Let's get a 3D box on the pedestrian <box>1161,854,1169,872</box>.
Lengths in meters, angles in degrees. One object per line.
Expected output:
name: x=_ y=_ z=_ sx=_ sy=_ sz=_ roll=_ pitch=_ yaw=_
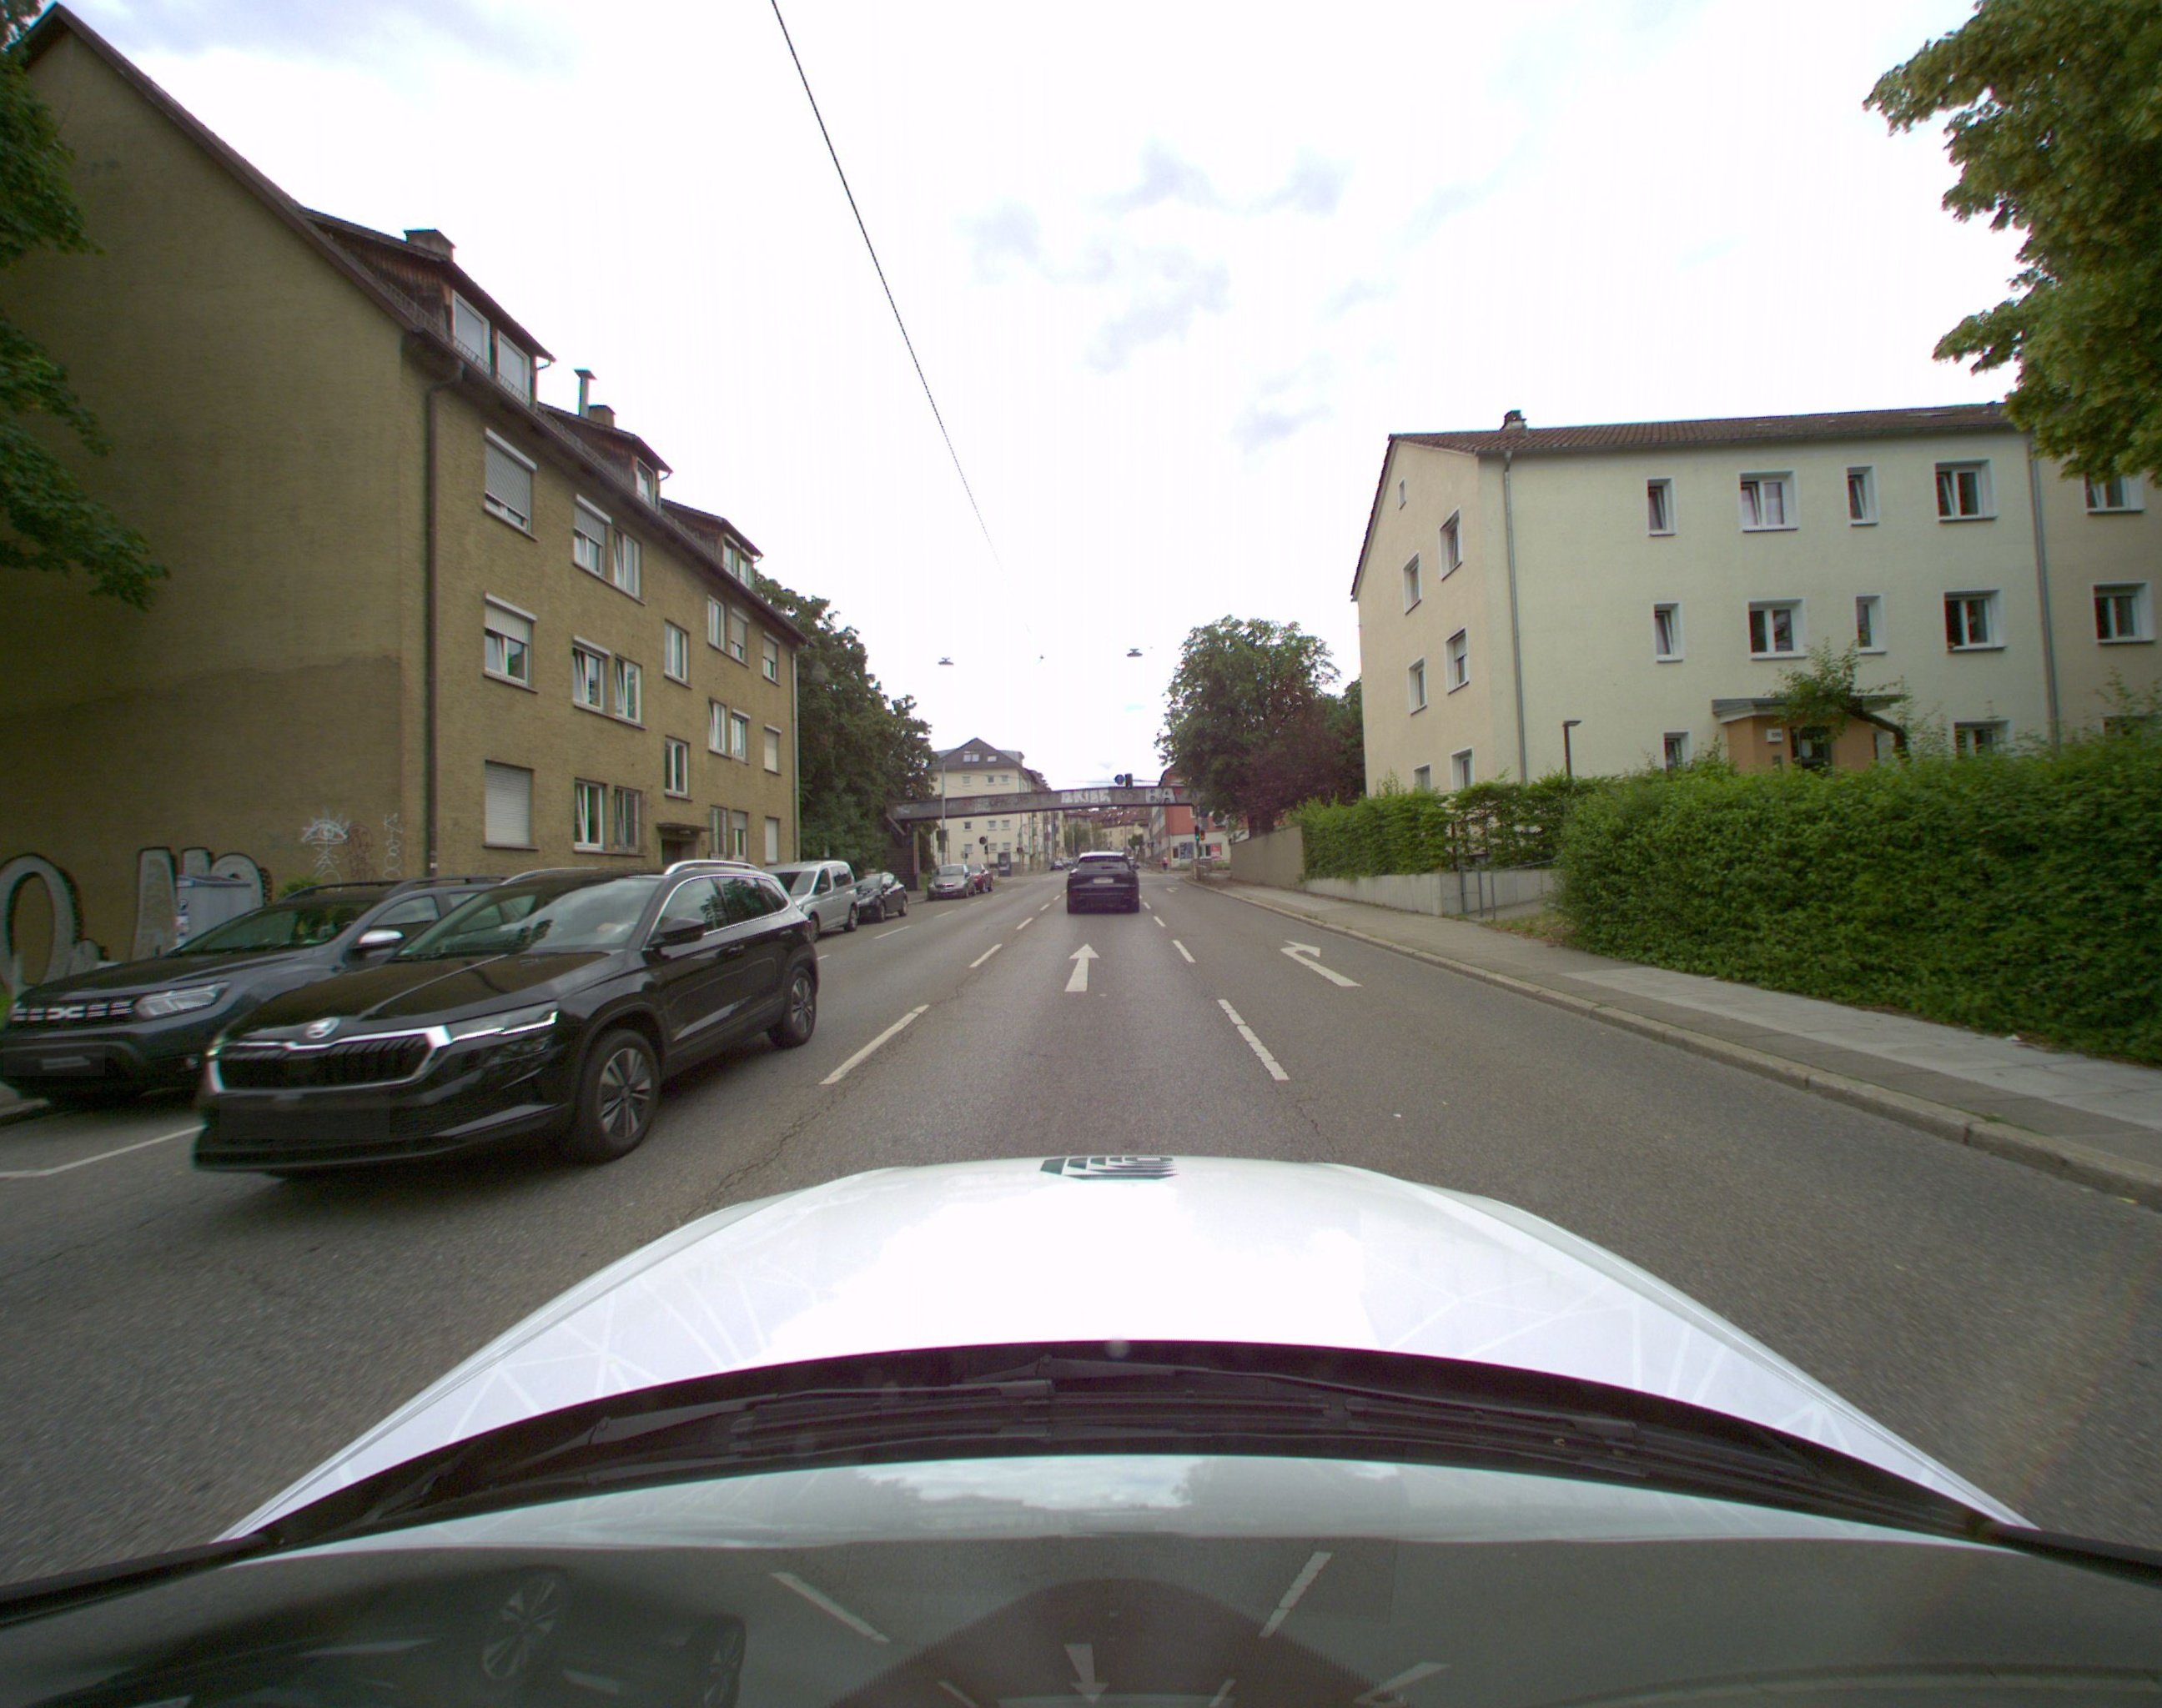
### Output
pedestrian: x=8.091 y=0.861 z=78.848 sx=0.650 sy=1.792 sz=0.714 roll=-2 pitch=0 yaw=-1

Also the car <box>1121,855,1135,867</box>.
car: x=6.175 y=0.950 z=107.880 sx=1.734 sy=1.400 sz=4.002 roll=-2 pitch=1 yaw=2

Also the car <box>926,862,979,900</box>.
car: x=-5.897 y=1.203 z=37.692 sx=1.740 sy=1.568 sz=3.907 roll=-4 pitch=0 yaw=0

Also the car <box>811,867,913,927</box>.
car: x=-6.321 y=1.193 z=23.956 sx=1.739 sy=1.439 sz=3.915 roll=-4 pitch=0 yaw=2

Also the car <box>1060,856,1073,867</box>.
car: x=-2.350 y=1.191 z=131.825 sx=1.758 sy=1.650 sz=4.003 roll=-2 pitch=0 yaw=3

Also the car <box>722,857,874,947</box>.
car: x=-6.456 y=1.008 z=19.208 sx=1.770 sy=1.754 sz=4.559 roll=-3 pitch=0 yaw=2

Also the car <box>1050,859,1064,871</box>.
car: x=-3.380 y=1.547 z=115.336 sx=1.758 sy=1.508 sz=4.003 roll=-2 pitch=0 yaw=3

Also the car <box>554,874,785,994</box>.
car: x=-6.683 y=1.198 z=13.811 sx=1.746 sy=1.530 sz=4.098 roll=-3 pitch=0 yaw=0

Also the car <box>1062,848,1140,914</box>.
car: x=0.588 y=0.684 z=23.166 sx=1.986 sy=1.662 sz=4.002 roll=-2 pitch=1 yaw=2

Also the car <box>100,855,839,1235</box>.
car: x=-3.329 y=0.846 z=5.678 sx=1.833 sy=1.590 sz=4.166 roll=-3 pitch=0 yaw=2

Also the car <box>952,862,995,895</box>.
car: x=-5.568 y=1.237 z=42.540 sx=1.528 sy=1.540 sz=3.984 roll=-4 pitch=0 yaw=2

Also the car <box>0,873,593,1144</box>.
car: x=-6.850 y=1.104 z=7.565 sx=1.775 sy=1.609 sz=4.268 roll=-4 pitch=0 yaw=3

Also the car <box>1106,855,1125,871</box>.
car: x=3.314 y=0.825 z=78.362 sx=1.734 sy=1.400 sz=4.002 roll=-2 pitch=1 yaw=2

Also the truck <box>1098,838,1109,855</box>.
truck: x=4.845 y=-1.611 z=177.601 sx=2.258 sy=3.424 sz=9.882 roll=-2 pitch=0 yaw=2
